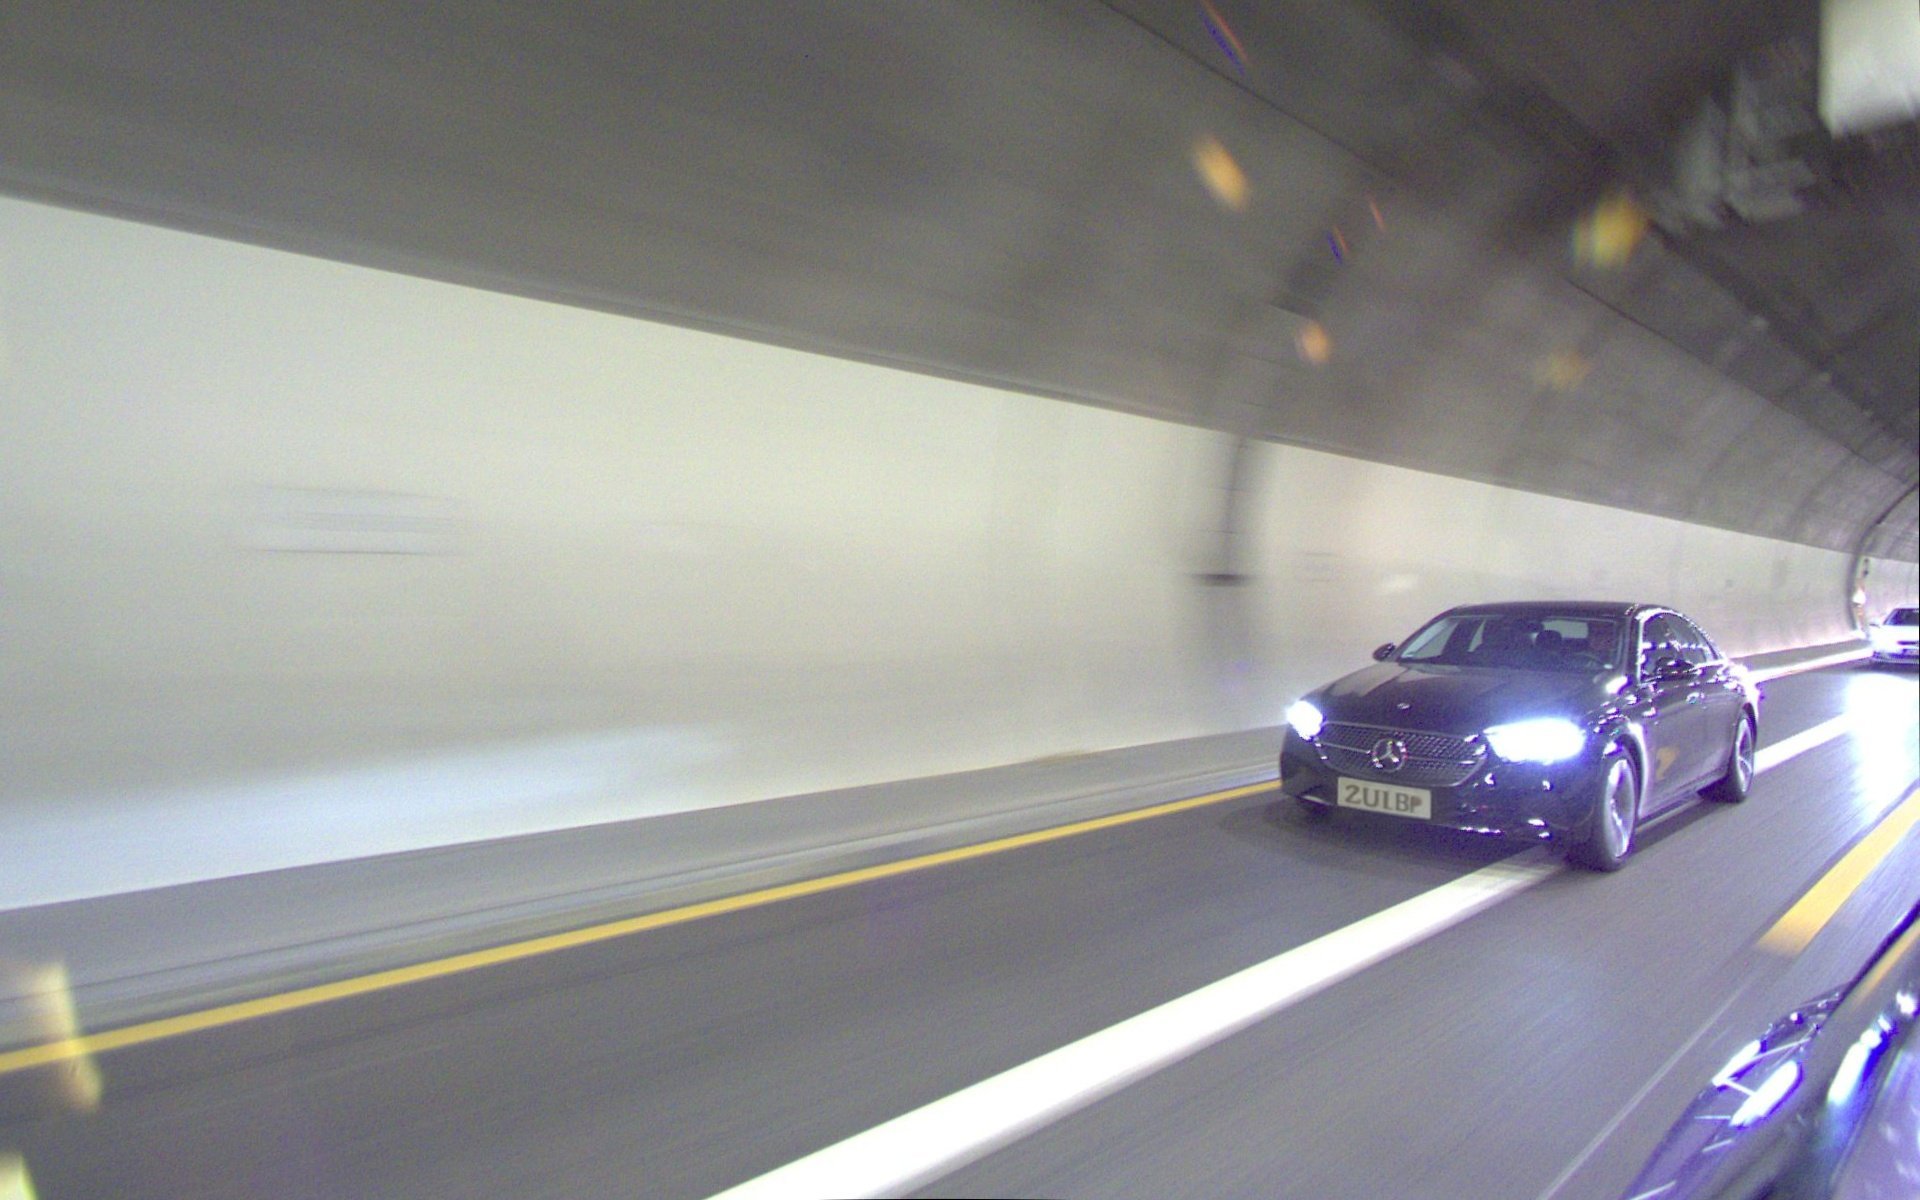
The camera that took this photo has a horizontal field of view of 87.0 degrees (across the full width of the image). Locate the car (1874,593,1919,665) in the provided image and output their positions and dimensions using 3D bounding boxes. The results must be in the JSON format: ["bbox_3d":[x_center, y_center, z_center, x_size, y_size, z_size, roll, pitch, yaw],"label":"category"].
[{"bbox_3d":[21.612,0.632,22.113,3.961,1.479,1.802,0,2,-39],"label":"car"}]

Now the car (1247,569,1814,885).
[{"bbox_3d":[4.304,0.586,7.236,4.867,1.490,1.930,0,3,-40],"label":"car"}]
